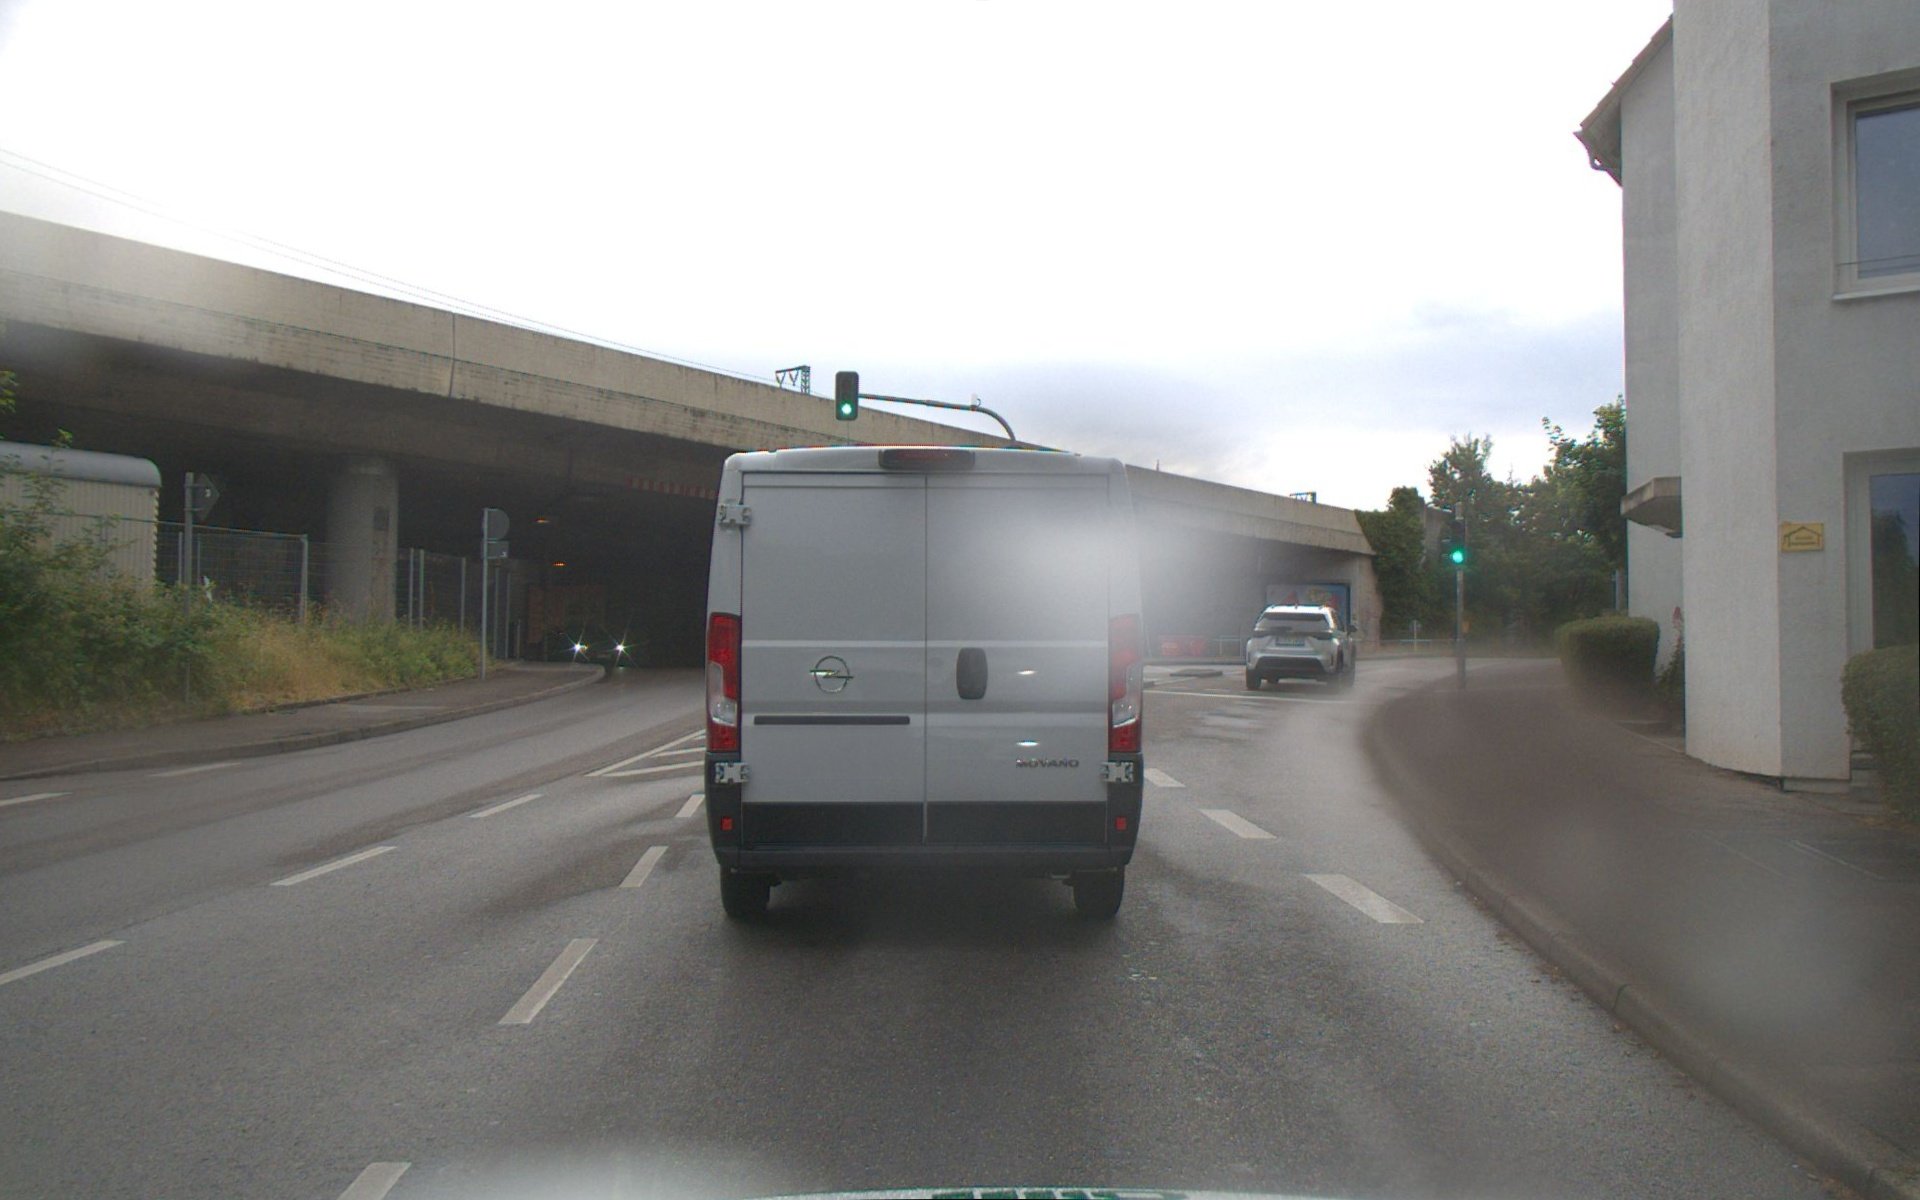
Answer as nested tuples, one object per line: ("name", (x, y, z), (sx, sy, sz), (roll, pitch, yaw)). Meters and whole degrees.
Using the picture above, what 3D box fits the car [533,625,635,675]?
("car", (-12.754, 1.659, 55.850), (1.975, 1.557, 4.449), (1, 0, -33))

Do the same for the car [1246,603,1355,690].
("car", (6.585, 0.847, 31.680), (1.835, 1.557, 4.003), (0, -1, 15))

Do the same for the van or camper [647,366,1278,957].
("van or camper", (-0.089, 0.281, 9.416), (2.644, 2.459, 4.900), (0, -1, -3))
